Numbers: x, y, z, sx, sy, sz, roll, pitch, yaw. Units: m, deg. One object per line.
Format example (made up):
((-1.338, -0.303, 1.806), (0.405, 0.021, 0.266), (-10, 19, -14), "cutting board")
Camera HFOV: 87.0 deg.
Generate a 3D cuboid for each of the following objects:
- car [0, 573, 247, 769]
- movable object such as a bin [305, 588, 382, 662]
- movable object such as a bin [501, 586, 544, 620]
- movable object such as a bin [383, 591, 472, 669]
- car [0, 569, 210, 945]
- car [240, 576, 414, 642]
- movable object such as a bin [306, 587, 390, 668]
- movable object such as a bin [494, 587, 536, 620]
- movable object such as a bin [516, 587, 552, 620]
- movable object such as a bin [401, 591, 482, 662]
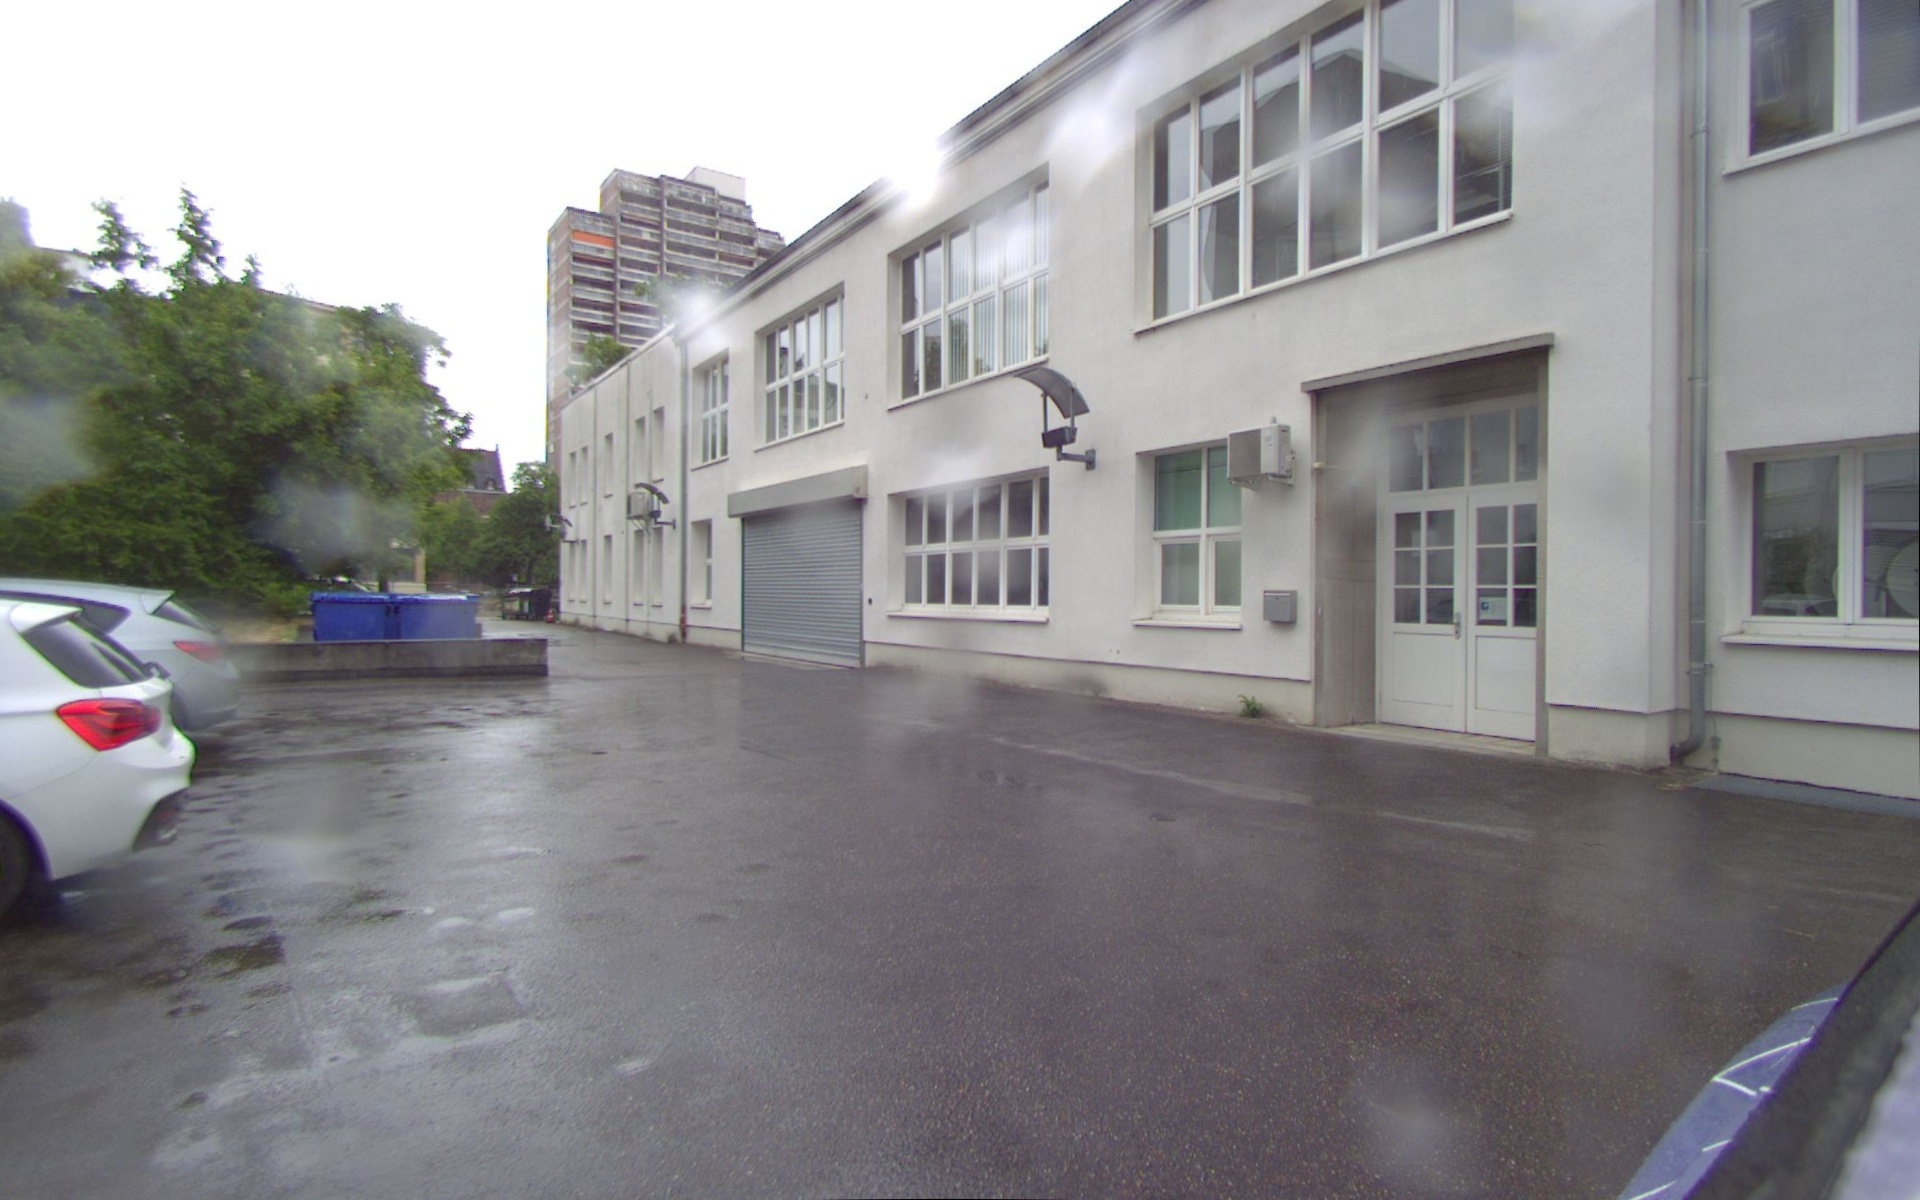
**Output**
((-8.384, 0.547, 8.254), (4.143, 1.508, 1.999), (0, 0, -37), "car")
((-12.317, 0.489, 20.183), (1.210, 1.375, 1.970), (-1, -1, -34), "movable object such as a bin")
((-19.854, 0.143, 45.925), (1.466, 1.467, 1.312), (-1, -1, -38), "movable object such as a bin")
((-10.145, 0.552, 19.237), (1.288, 1.375, 1.905), (-1, -1, -34), "movable object such as a bin")
((-5.562, 0.637, 4.014), (4.143, 1.508, 1.999), (0, 0, -37), "car")
((-20.317, 0.276, 32.681), (4.606, 1.906, 2.124), (-2, -2, -32), "car")
((-11.220, 0.489, 18.510), (1.210, 1.375, 1.970), (-1, -1, -34), "movable object such as a bin")
((-20.669, 0.146, 47.000), (1.466, 1.467, 1.312), (-1, -1, -38), "movable object such as a bin")
((-18.824, 0.174, 44.699), (1.167, 1.391, 1.312), (-1, -1, -38), "movable object such as a bin")
((-10.821, 0.542, 21.091), (1.288, 1.375, 1.905), (-1, -1, -34), "movable object such as a bin")
